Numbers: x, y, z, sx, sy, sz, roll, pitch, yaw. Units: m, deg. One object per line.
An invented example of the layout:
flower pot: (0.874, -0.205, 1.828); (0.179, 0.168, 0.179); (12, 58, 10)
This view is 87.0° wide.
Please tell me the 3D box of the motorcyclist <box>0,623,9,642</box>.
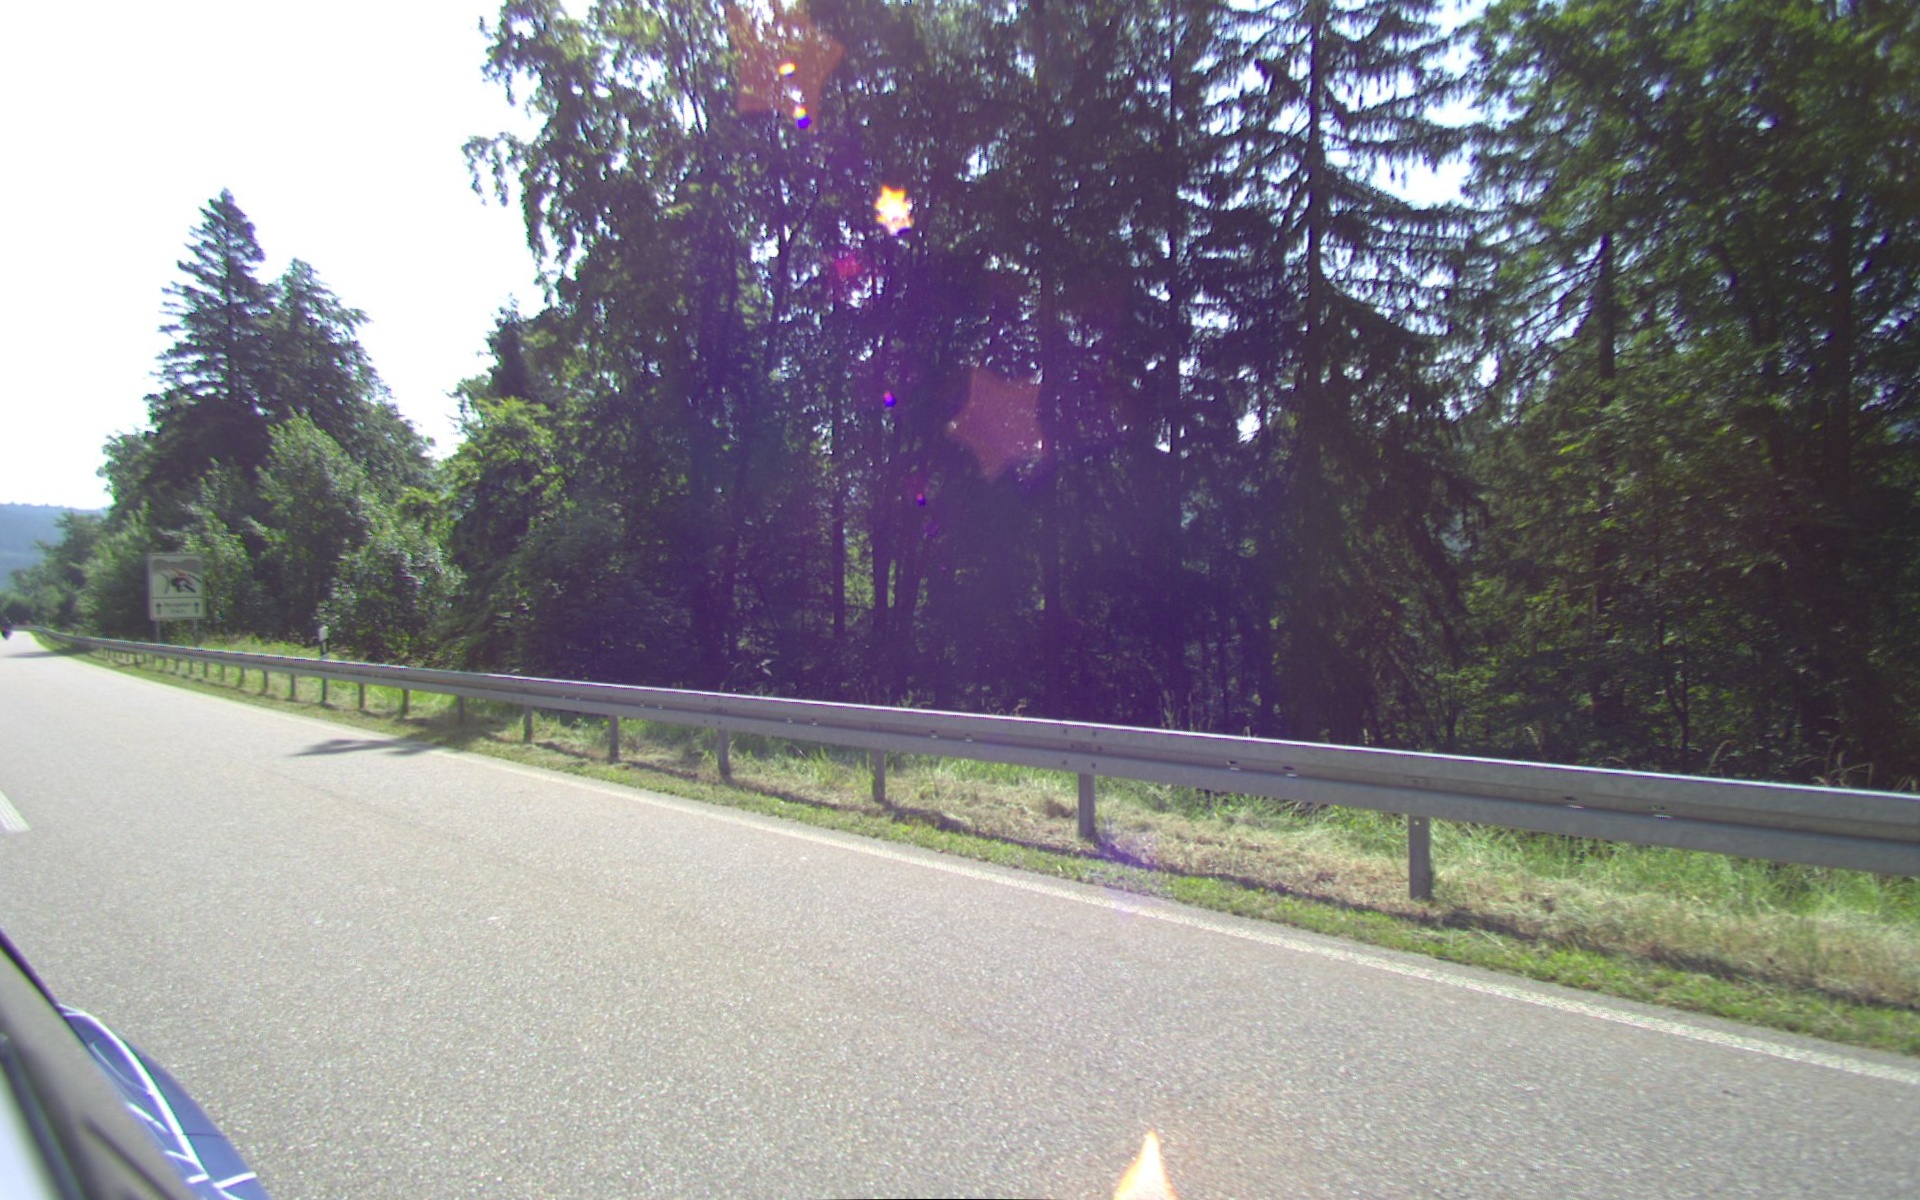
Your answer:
motorcyclist: (-76.406, 2.582, 80.787); (0.650, 1.524, 0.935); (0, -1, -42)

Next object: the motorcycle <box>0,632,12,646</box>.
motorcycle: (-76.409, 3.089, 80.843); (0.972, 1.079, 1.965); (0, -1, -42)
